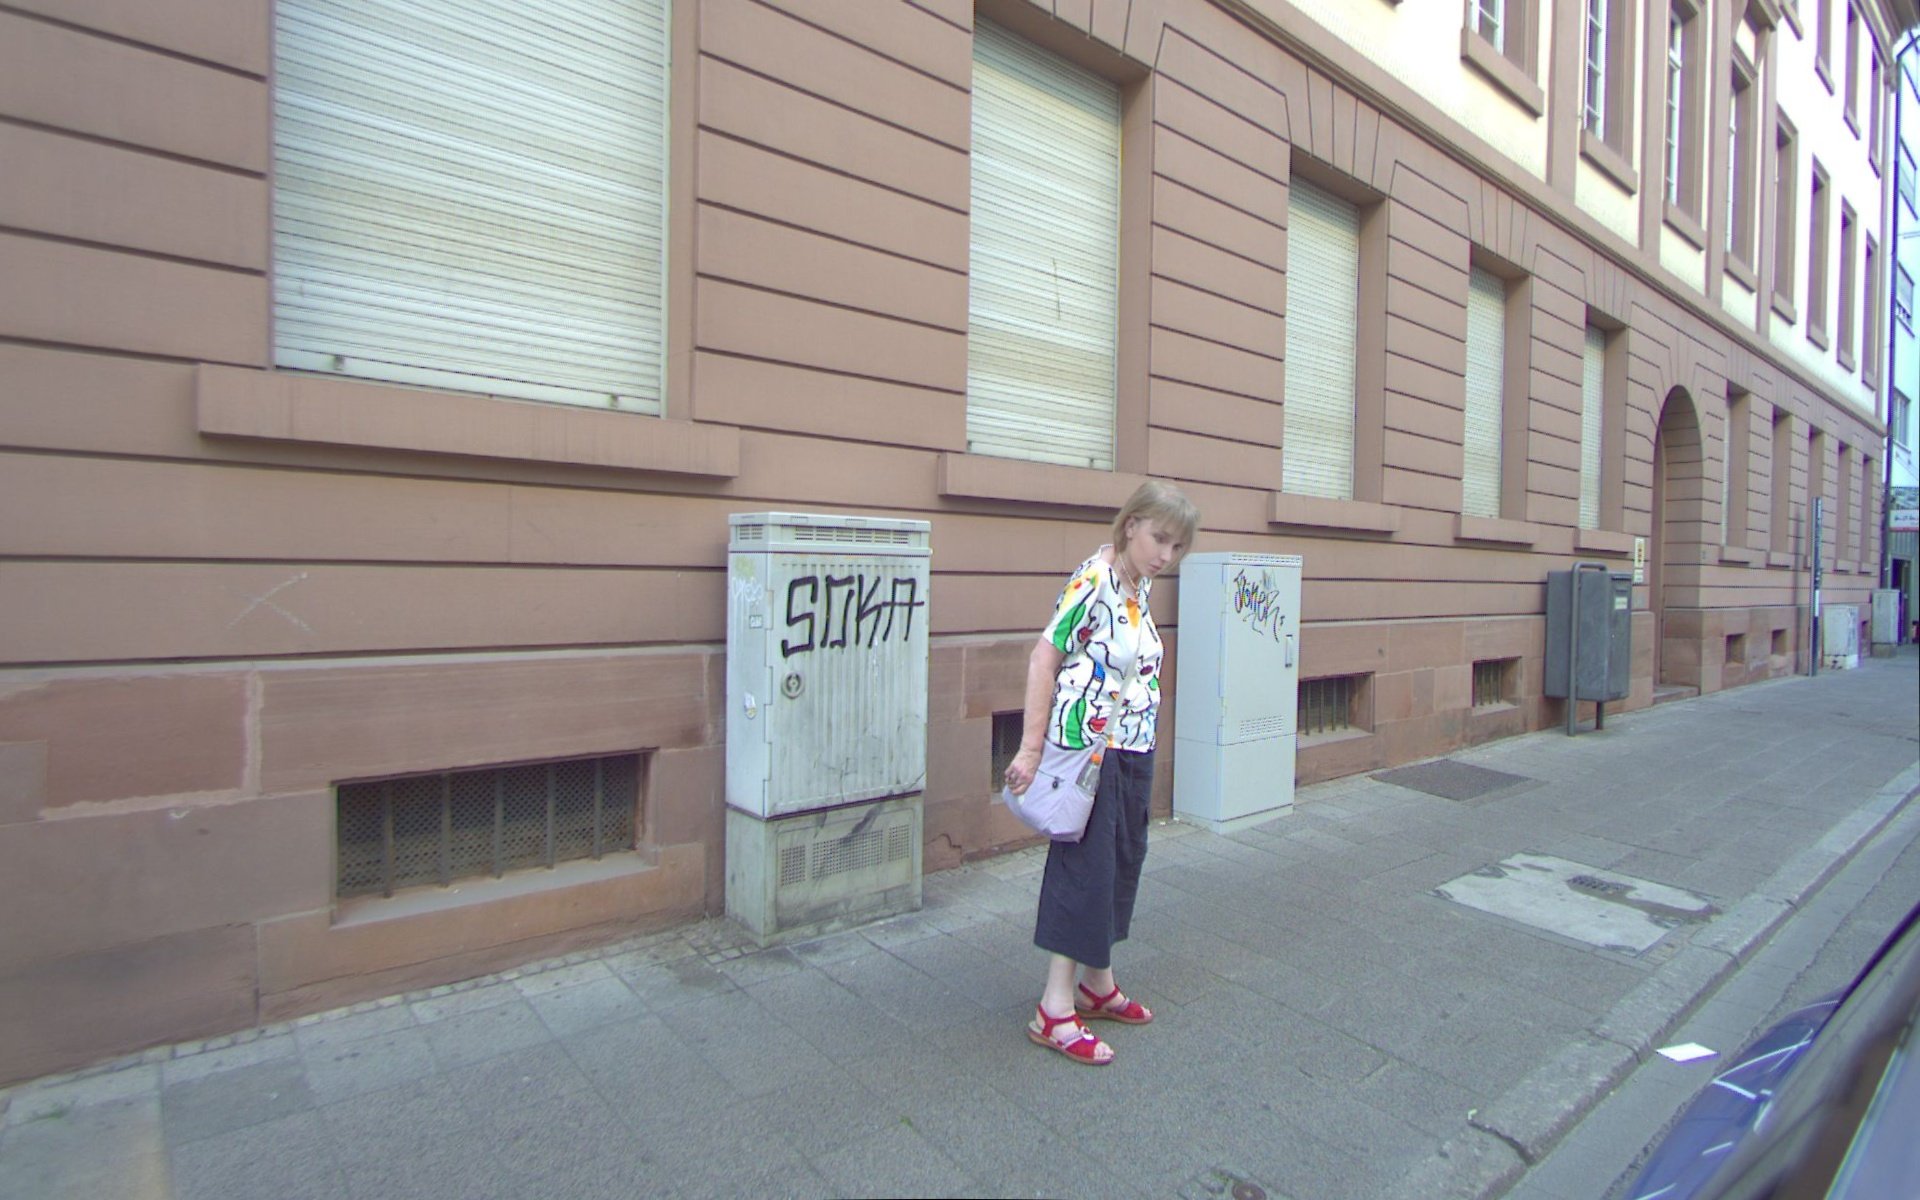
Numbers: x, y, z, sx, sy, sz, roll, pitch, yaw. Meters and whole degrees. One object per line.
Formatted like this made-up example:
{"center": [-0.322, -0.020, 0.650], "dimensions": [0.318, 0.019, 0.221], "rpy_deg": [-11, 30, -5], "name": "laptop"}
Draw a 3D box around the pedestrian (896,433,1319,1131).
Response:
{"center": [0.422, 0.421, 3.054], "dimensions": [0.798, 1.691, 0.929], "rpy_deg": [0, 2, -42], "name": "pedestrian"}
